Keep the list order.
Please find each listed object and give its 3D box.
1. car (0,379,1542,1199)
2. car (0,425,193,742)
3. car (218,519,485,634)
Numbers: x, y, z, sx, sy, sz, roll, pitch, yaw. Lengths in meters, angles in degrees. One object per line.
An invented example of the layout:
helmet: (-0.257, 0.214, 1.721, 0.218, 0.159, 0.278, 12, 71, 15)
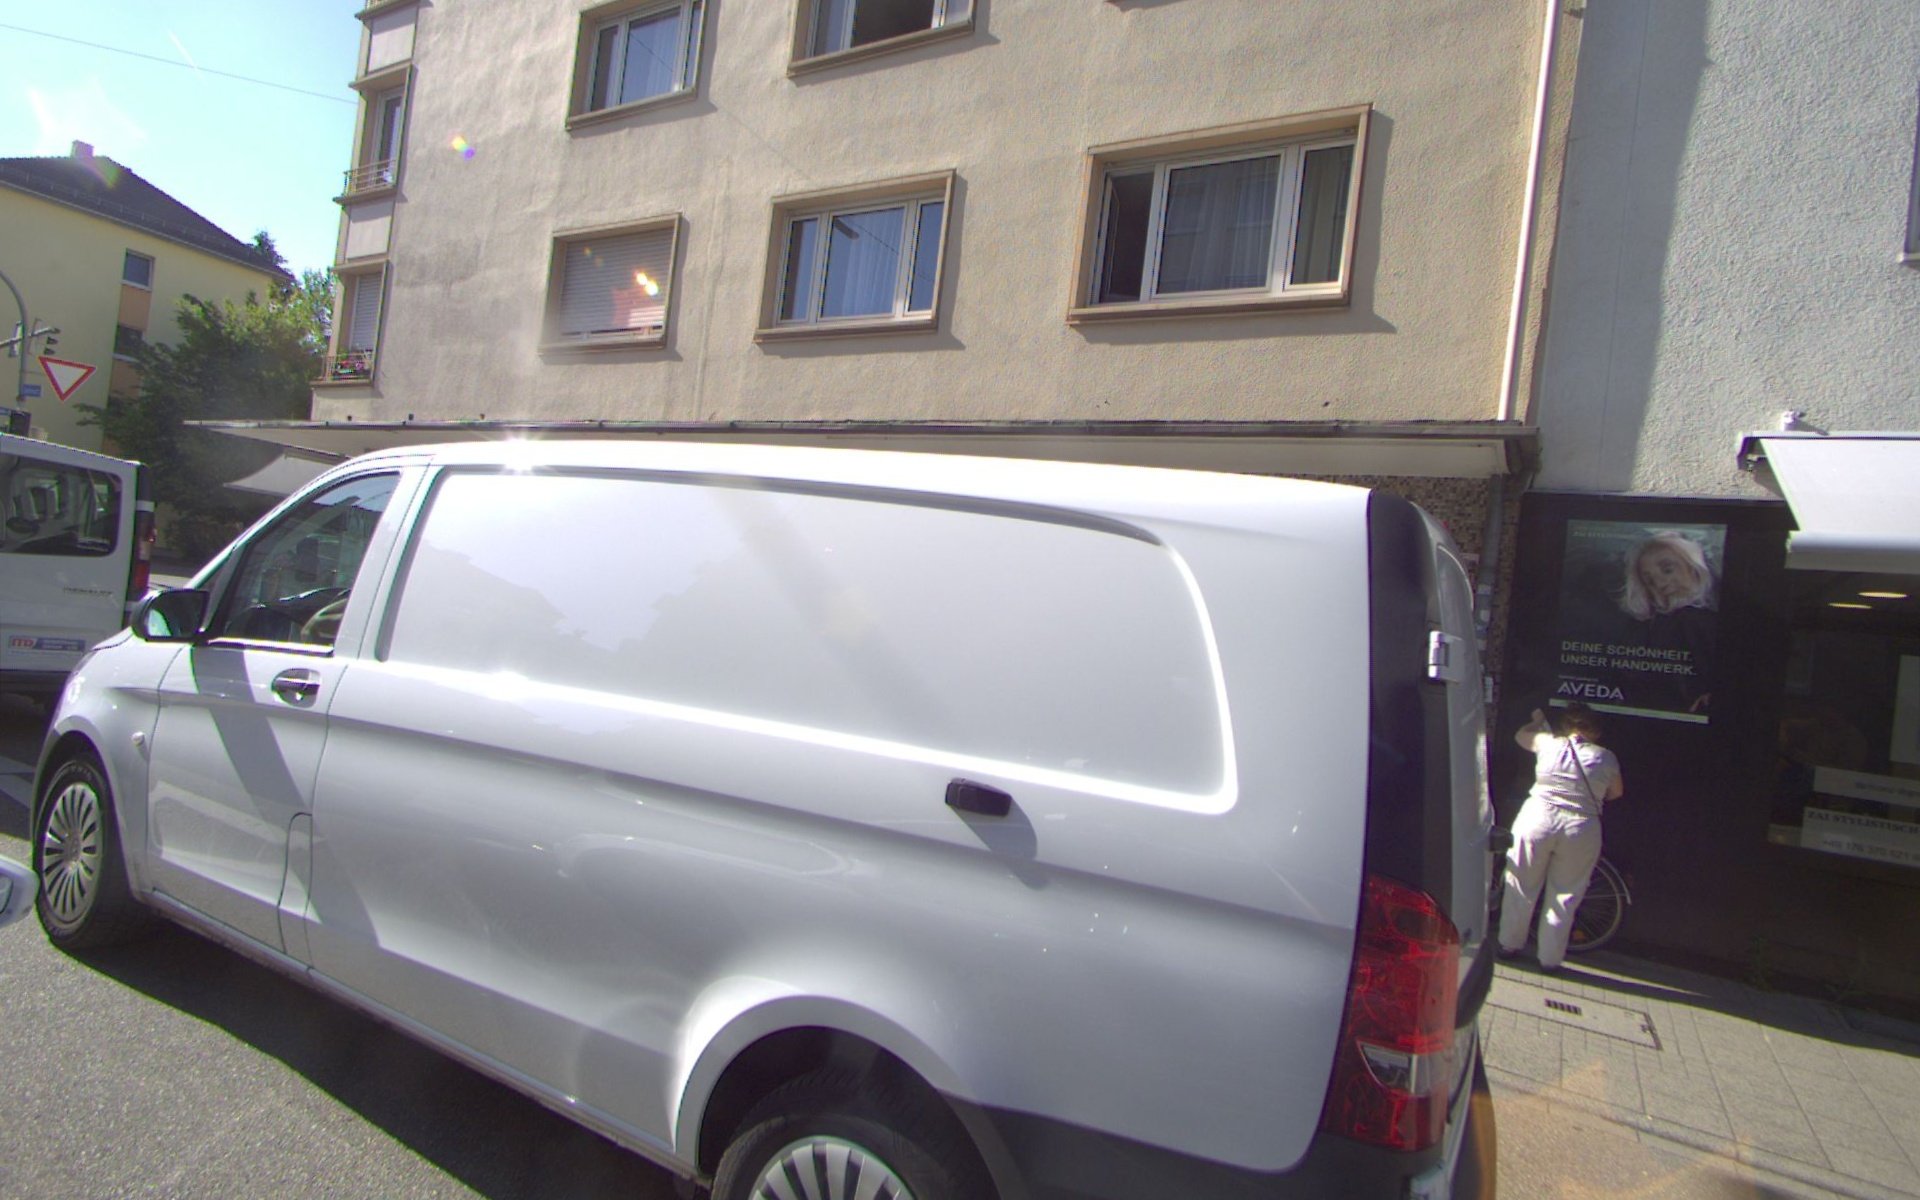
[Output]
car: (-0.921, 0.502, 3.324, 4.752, 1.832, 1.972, 6, -1, 31)
car: (-8.118, -0.323, 7.523, 4.972, 1.962, 1.973, 6, -3, 32)
car: (-11.787, -0.387, 19.762, 1.795, 1.682, 3.993, 7, -1, 32)
